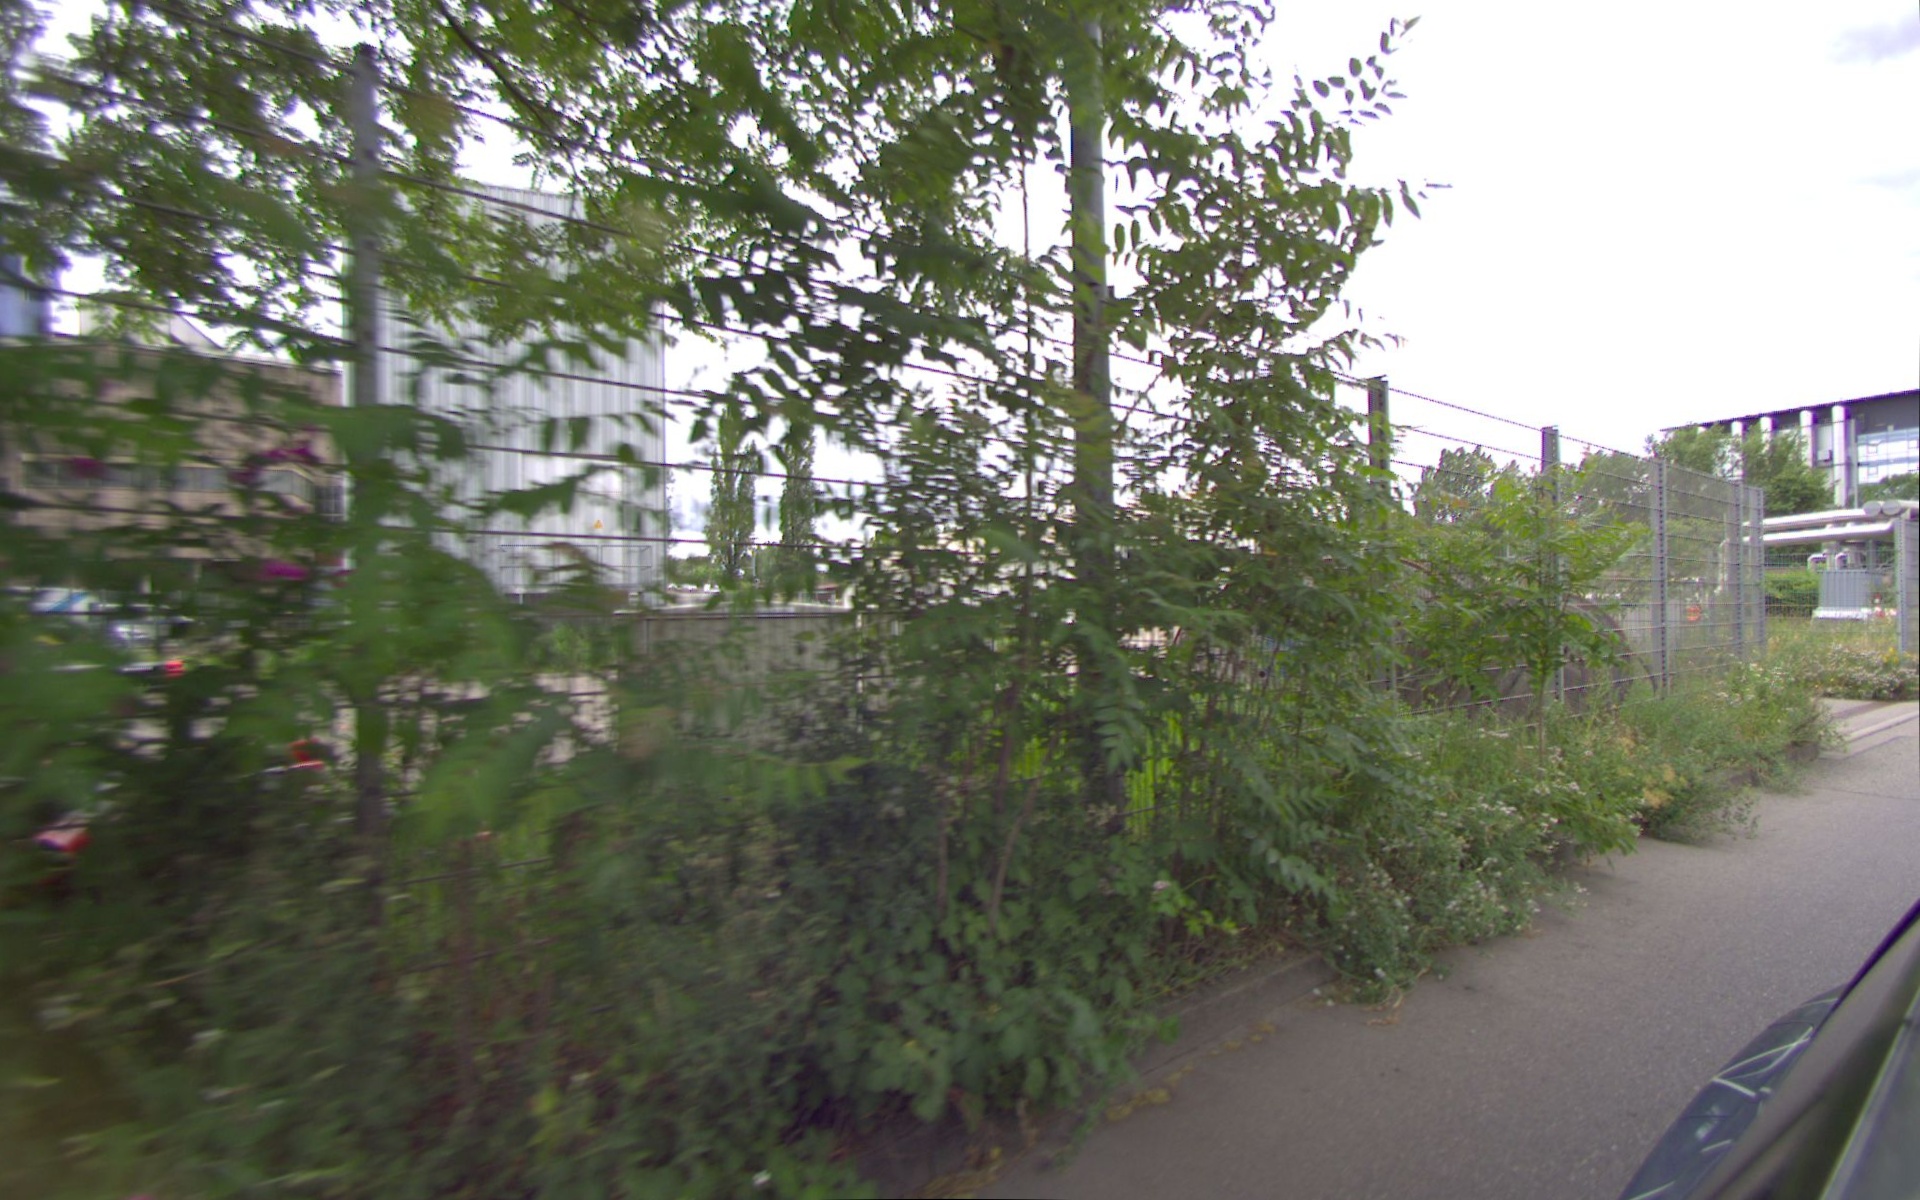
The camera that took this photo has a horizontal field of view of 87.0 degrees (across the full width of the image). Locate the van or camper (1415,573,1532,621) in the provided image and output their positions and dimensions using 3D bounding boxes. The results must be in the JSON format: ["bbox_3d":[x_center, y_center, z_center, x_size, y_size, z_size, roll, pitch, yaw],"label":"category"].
[{"bbox_3d":[28.699,-0.142,56.578,5.998,2.581,2.580,0,0,-23],"label":"van or camper"}]

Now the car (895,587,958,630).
[{"bbox_3d":[-2.228,0.519,65.775,2.366,2.680,5.359,0,0,-23],"label":"car"}]
